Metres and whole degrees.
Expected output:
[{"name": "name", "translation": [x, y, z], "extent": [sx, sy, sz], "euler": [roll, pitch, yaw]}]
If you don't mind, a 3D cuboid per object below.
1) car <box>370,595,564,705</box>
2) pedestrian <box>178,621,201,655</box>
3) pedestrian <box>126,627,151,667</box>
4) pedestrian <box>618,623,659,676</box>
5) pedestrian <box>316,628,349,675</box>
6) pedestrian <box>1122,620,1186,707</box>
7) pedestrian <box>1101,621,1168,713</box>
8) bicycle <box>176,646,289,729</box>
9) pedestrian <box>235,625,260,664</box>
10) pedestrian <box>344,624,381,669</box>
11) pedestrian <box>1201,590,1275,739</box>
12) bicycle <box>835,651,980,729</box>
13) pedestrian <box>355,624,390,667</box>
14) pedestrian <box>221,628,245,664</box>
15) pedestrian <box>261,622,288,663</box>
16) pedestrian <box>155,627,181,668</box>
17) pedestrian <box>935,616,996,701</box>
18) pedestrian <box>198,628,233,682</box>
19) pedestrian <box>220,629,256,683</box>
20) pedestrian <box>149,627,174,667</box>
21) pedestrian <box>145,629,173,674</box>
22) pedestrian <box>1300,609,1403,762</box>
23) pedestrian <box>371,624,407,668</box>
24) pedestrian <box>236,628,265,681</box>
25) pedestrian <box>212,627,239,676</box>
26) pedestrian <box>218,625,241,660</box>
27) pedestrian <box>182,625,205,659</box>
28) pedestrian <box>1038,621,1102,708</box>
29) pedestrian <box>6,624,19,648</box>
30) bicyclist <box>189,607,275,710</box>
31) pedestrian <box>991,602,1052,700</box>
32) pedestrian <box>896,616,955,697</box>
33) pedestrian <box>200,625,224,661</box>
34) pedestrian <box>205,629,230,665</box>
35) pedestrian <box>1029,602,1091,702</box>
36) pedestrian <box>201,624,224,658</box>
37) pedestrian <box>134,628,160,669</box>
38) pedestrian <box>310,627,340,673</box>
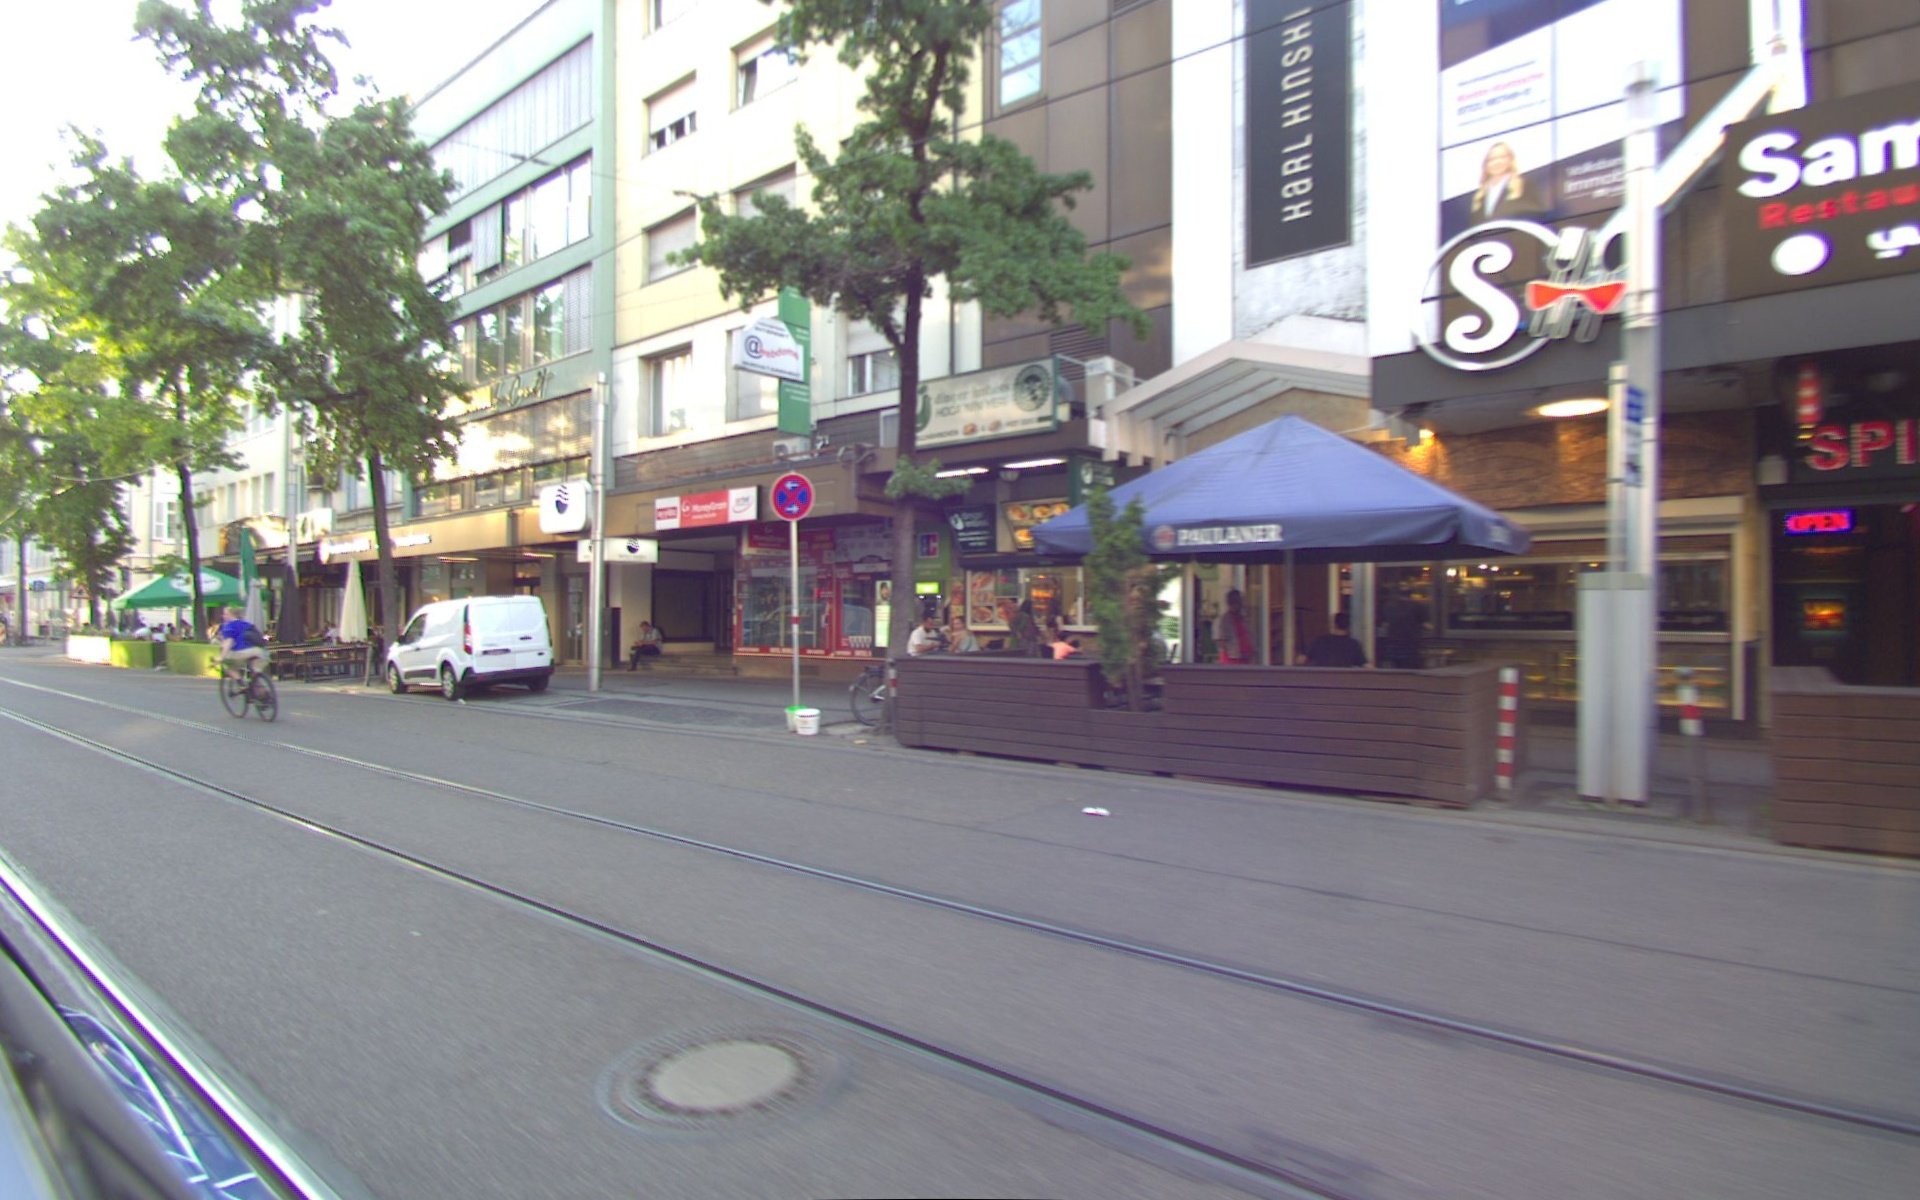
[{"name": "car", "translation": [-9.627, 0.900, 19.615], "extent": [4.328, 1.835, 1.807], "euler": [-1, 1, 42]}, {"name": "pedestrian", "translation": [-34.096, 1.675, 44.768], "extent": [0.649, 1.471, 0.642], "euler": [-1, -2, 38]}, {"name": "pedestrian", "translation": [-29.149, 1.670, 35.896], "extent": [0.640, 1.397, 0.651], "euler": [1, -2, -43]}, {"name": "pedestrian", "translation": [-7.421, 1.140, 23.375], "extent": [0.648, 1.184, 0.642], "euler": [-1, -1, 35]}, {"name": "pedestrian", "translation": [-20.052, 1.626, 32.343], "extent": [0.648, 1.471, 0.643], "euler": [-1, -2, 31]}, {"name": "pedestrian", "translation": [2.780, 0.893, 14.475], "extent": [0.665, 1.165, 0.635], "euler": [0, 2, 38]}, {"name": "pedestrian", "translation": [2.380, 0.891, 13.764], "extent": [0.665, 1.165, 0.635], "euler": [0, 2, 38]}, {"name": "bicycle", "translation": [-10.577, 1.236, 14.696], "extent": [1.861, 1.081, 0.724], "euler": [-1, 0, 34]}, {"name": "pedestrian", "translation": [-27.551, 1.712, 39.133], "extent": [0.649, 1.471, 0.642], "euler": [-1, -2, 37]}, {"name": "pedestrian", "translation": [-18.126, 1.405, 30.696], "extent": [0.785, 1.326, 0.693], "euler": [-1, -2, 36]}, {"name": "pedestrian", "translation": [3.077, 0.685, 11.184], "extent": [0.564, 1.564, 0.650], "euler": [0, 1, 38]}, {"name": "bicycle", "translation": [-0.688, 1.146, 13.060], "extent": [1.813, 0.933, 0.477], "euler": [-1, 0, 20]}, {"name": "pedestrian", "translation": [-18.440, 1.413, 31.766], "extent": [0.785, 1.326, 0.693], "euler": [-1, -2, 36]}, {"name": "pedestrian", "translation": [-30.324, 1.915, 42.208], "extent": [0.649, 1.471, 0.642], "euler": [-1, -2, 37]}, {"name": "pedestrian", "translation": [-24.883, 1.540, 36.724], "extent": [0.649, 1.471, 0.642], "euler": [-1, -2, 37]}, {"name": "pedestrian", "translation": [-27.807, 1.659, 35.527], "extent": [0.640, 1.397, 0.651], "euler": [1, -2, -43]}, {"name": "pedestrian", "translation": [0.082, 0.903, 15.861], "extent": [0.665, 1.237, 0.635], "euler": [0, 3, 38]}, {"name": "pedestrian", "translation": [-20.719, 1.531, 28.173], "extent": [0.650, 1.471, 0.641], "euler": [-1, -2, 41]}, {"name": "pedestrian", "translation": [-19.821, 1.522, 27.785], "extent": [0.639, 1.471, 0.652], "euler": [0, -2, -20]}, {"name": "pedestrian", "translation": [-28.696, 1.670, 36.353], "extent": [0.640, 1.397, 0.651], "euler": [1, -2, -43]}, {"name": "pedestrian", "translation": [-25.522, 1.624, 32.232], "extent": [0.640, 1.397, 0.651], "euler": [1, -2, -43]}, {"name": "pedestrian", "translation": [3.897, 0.809, 10.061], "extent": [0.746, 1.411, 0.756], "euler": [0, 2, 39]}, {"name": "pedestrian", "translation": [-17.623, 1.405, 31.249], "extent": [0.785, 1.326, 0.693], "euler": [-1, -2, 36]}, {"name": "pedestrian", "translation": [-20.100, 1.530, 28.679], "extent": [0.639, 1.471, 0.652], "euler": [1, -2, -33]}, {"name": "pedestrian", "translation": [-22.369, 1.558, 30.826], "extent": [0.639, 1.471, 0.651], "euler": [1, -2, -37]}, {"name": "pedestrian", "translation": [-30.972, 1.780, 42.919], "extent": [0.649, 1.471, 0.642], "euler": [-1, -2, 38]}, {"name": "pedestrian", "translation": [-33.041, 1.798, 43.604], "extent": [0.649, 1.471, 0.642], "euler": [-1, -2, 38]}, {"name": "pedestrian", "translation": [1.580, 0.901, 14.483], "extent": [0.665, 1.165, 0.635], "euler": [0, 2, 38]}, {"name": "pedestrian", "translation": [-58.033, 2.187, 62.009], "extent": [0.543, 1.471, 0.484], "euler": [-1, -2, 38]}, {"name": "bicyclist", "translation": [-10.567, 0.825, 14.688], "extent": [0.895, 1.425, 0.752], "euler": [-1, 0, 34]}, {"name": "pedestrian", "translation": [0.968, 0.782, 15.901], "extent": [0.642, 1.444, 0.654], "euler": [0, 3, 40]}, {"name": "pedestrian", "translation": [-0.554, 0.911, 16.504], "extent": [0.665, 1.237, 0.635], "euler": [0, 3, 38]}, {"name": "pedestrian", "translation": [-31.292, 1.779, 42.316], "extent": [0.649, 1.471, 0.642], "euler": [-1, -2, 37]}, {"name": "pedestrian", "translation": [-30.590, 1.913, 41.693], "extent": [0.649, 1.471, 0.642], "euler": [-1, -2, 37]}, {"name": "pedestrian", "translation": [1.524, 0.776, 15.445], "extent": [0.642, 1.444, 0.654], "euler": [0, 3, 40]}, {"name": "pedestrian", "translation": [-32.643, 1.799, 44.178], "extent": [0.649, 1.471, 0.642], "euler": [-1, -2, 38]}, {"name": "pedestrian", "translation": [-28.202, 1.659, 35.094], "extent": [0.640, 1.397, 0.651], "euler": [1, -2, -43]}, {"name": "pedestrian", "translation": [-20.724, 1.635, 33.030], "extent": [0.649, 1.471, 0.642], "euler": [-1, -2, 38]}]
